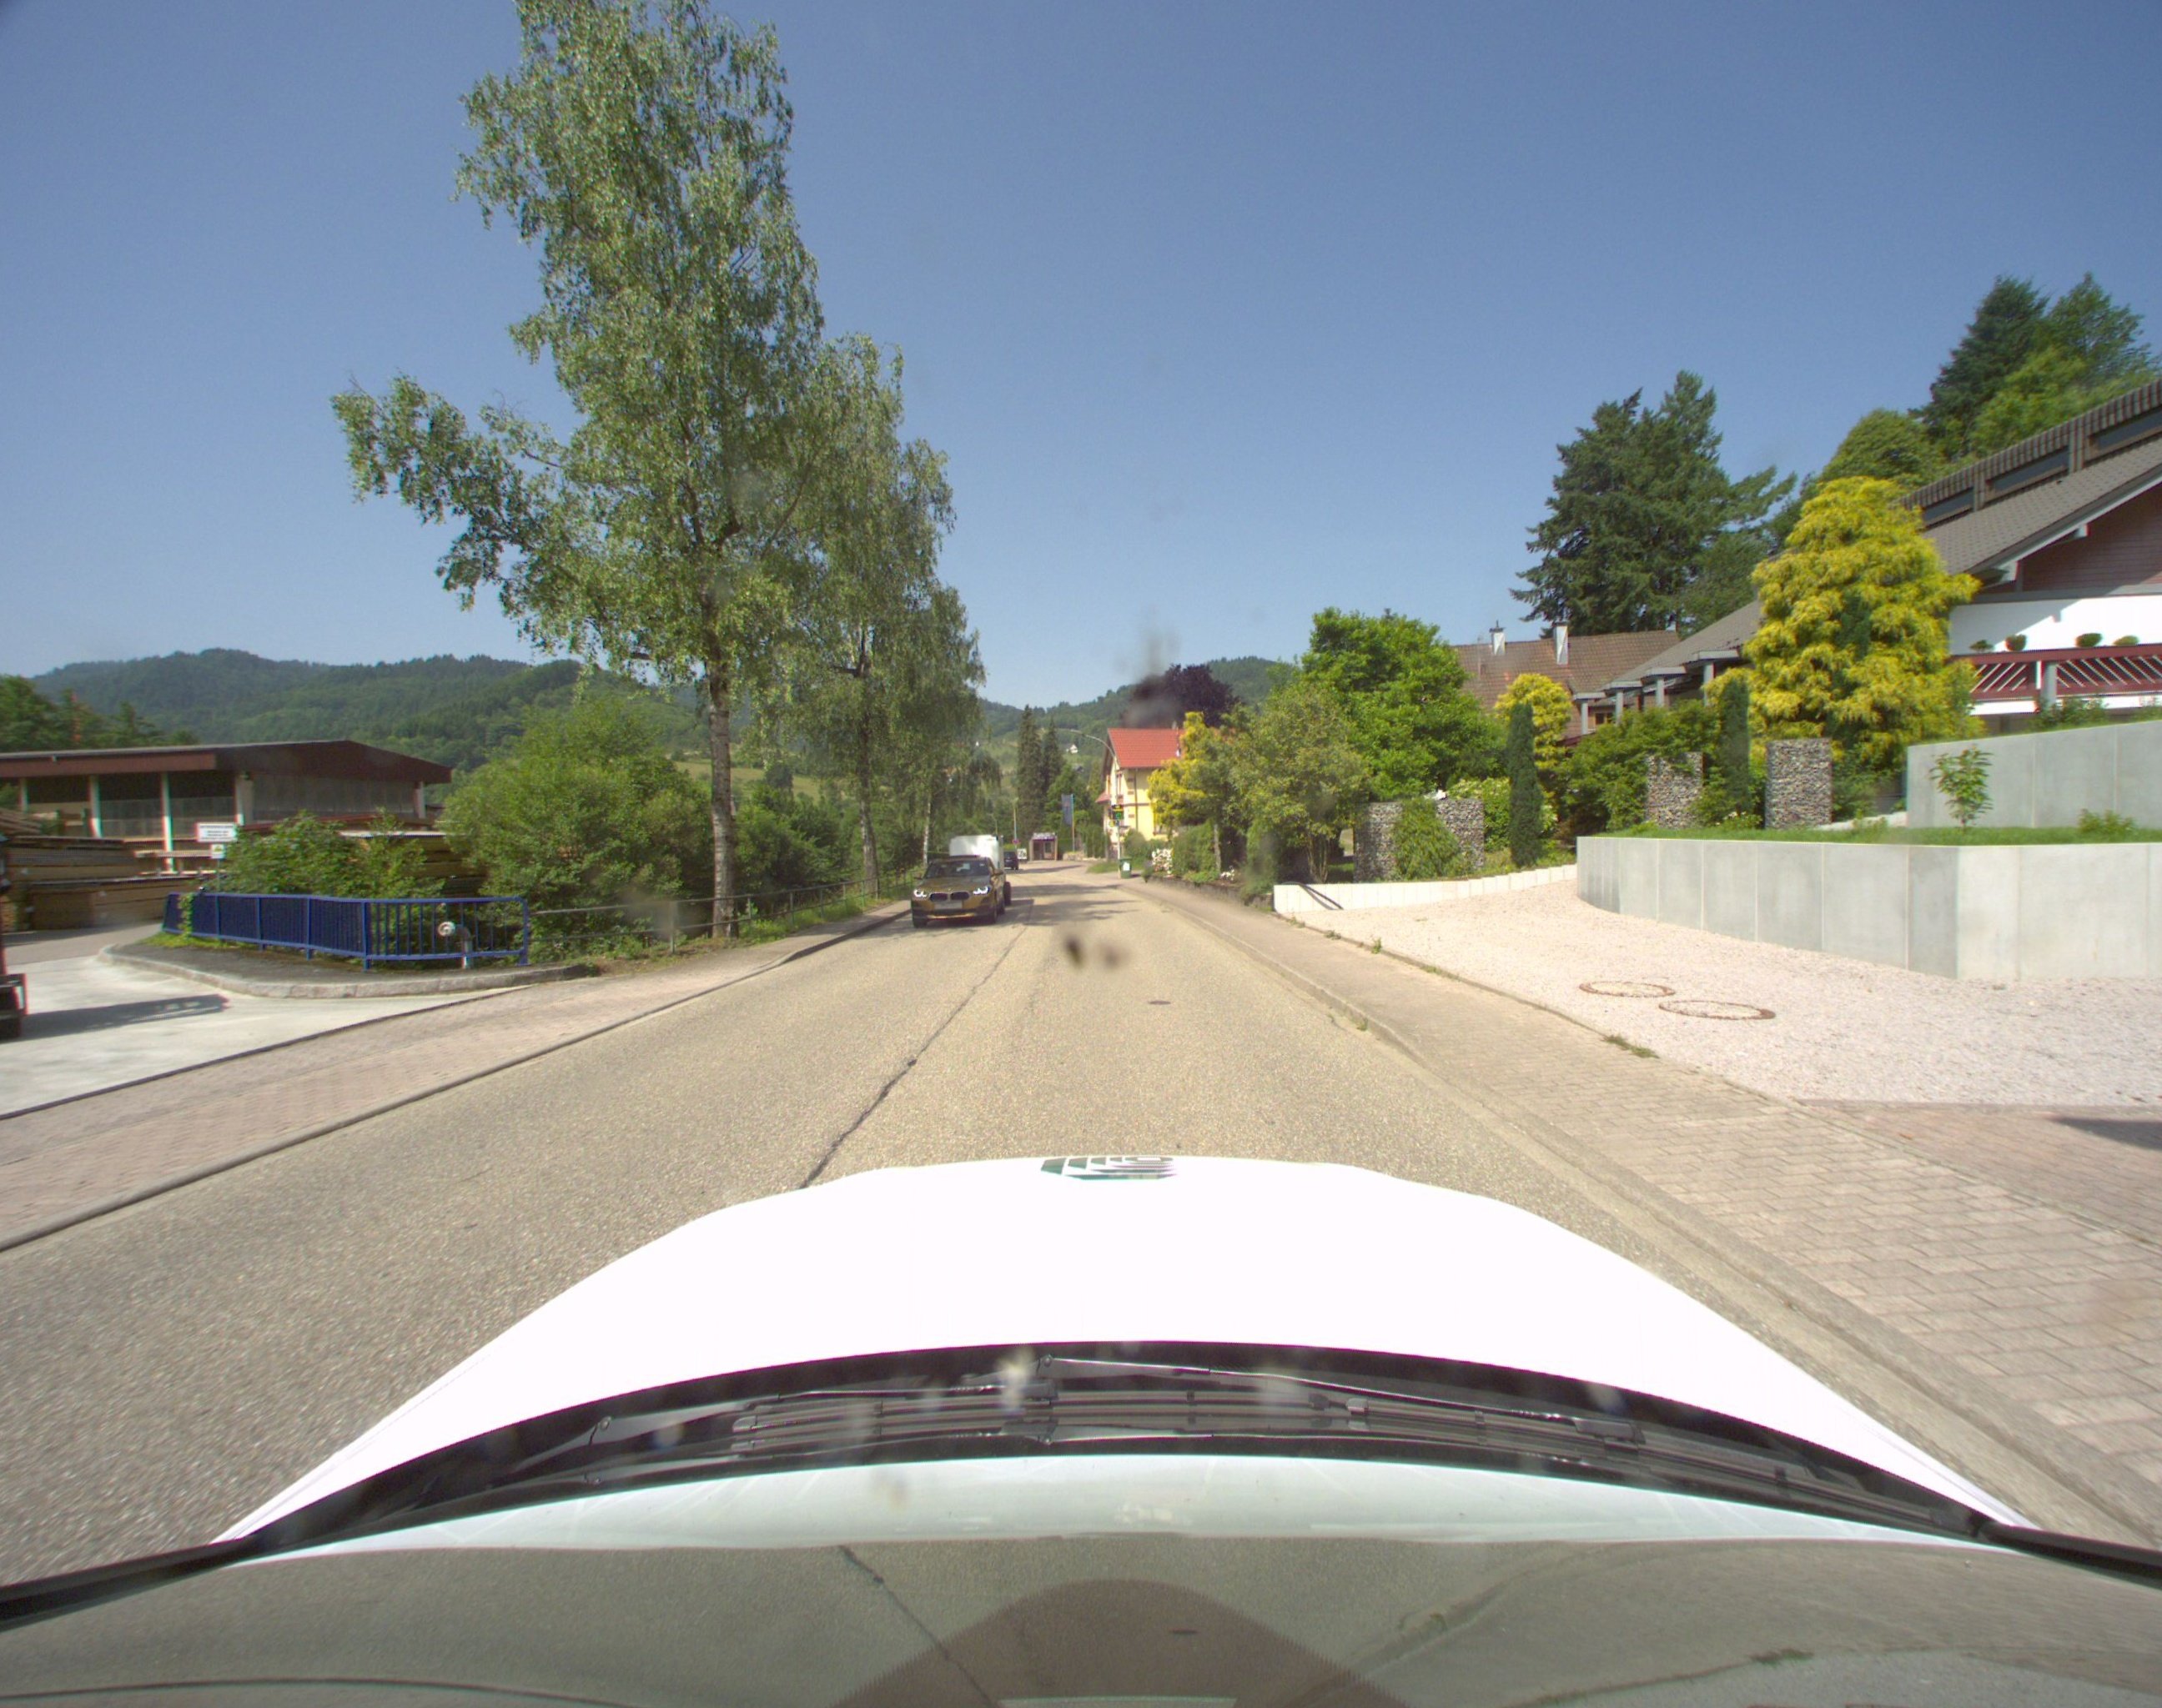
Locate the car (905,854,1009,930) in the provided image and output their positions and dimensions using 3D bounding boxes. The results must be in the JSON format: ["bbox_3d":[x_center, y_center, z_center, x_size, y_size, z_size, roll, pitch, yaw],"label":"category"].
[{"bbox_3d":[-2.789,0.792,19.186,1.808,1.500,4.147,-3,0,-1],"label":"car"}]

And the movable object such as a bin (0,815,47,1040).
[{"bbox_3d":[-11.041,0.725,7.733,2.099,2.072,1.143,-2,0,29],"label":"movable object such as a bin"}]

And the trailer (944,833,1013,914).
[{"bbox_3d":[-2.866,0.508,23.376,1.462,2.077,3.669,-3,0,-1],"label":"trailer"}]

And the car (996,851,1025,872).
[{"bbox_3d":[-6.087,0.655,70.078,1.922,1.698,3.770,-2,0,-14],"label":"car"}]

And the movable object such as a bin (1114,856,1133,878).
[{"bbox_3d":[2.146,0.650,40.897,0.808,1.042,0.577,-3,1,-7],"label":"movable object such as a bin"}]
